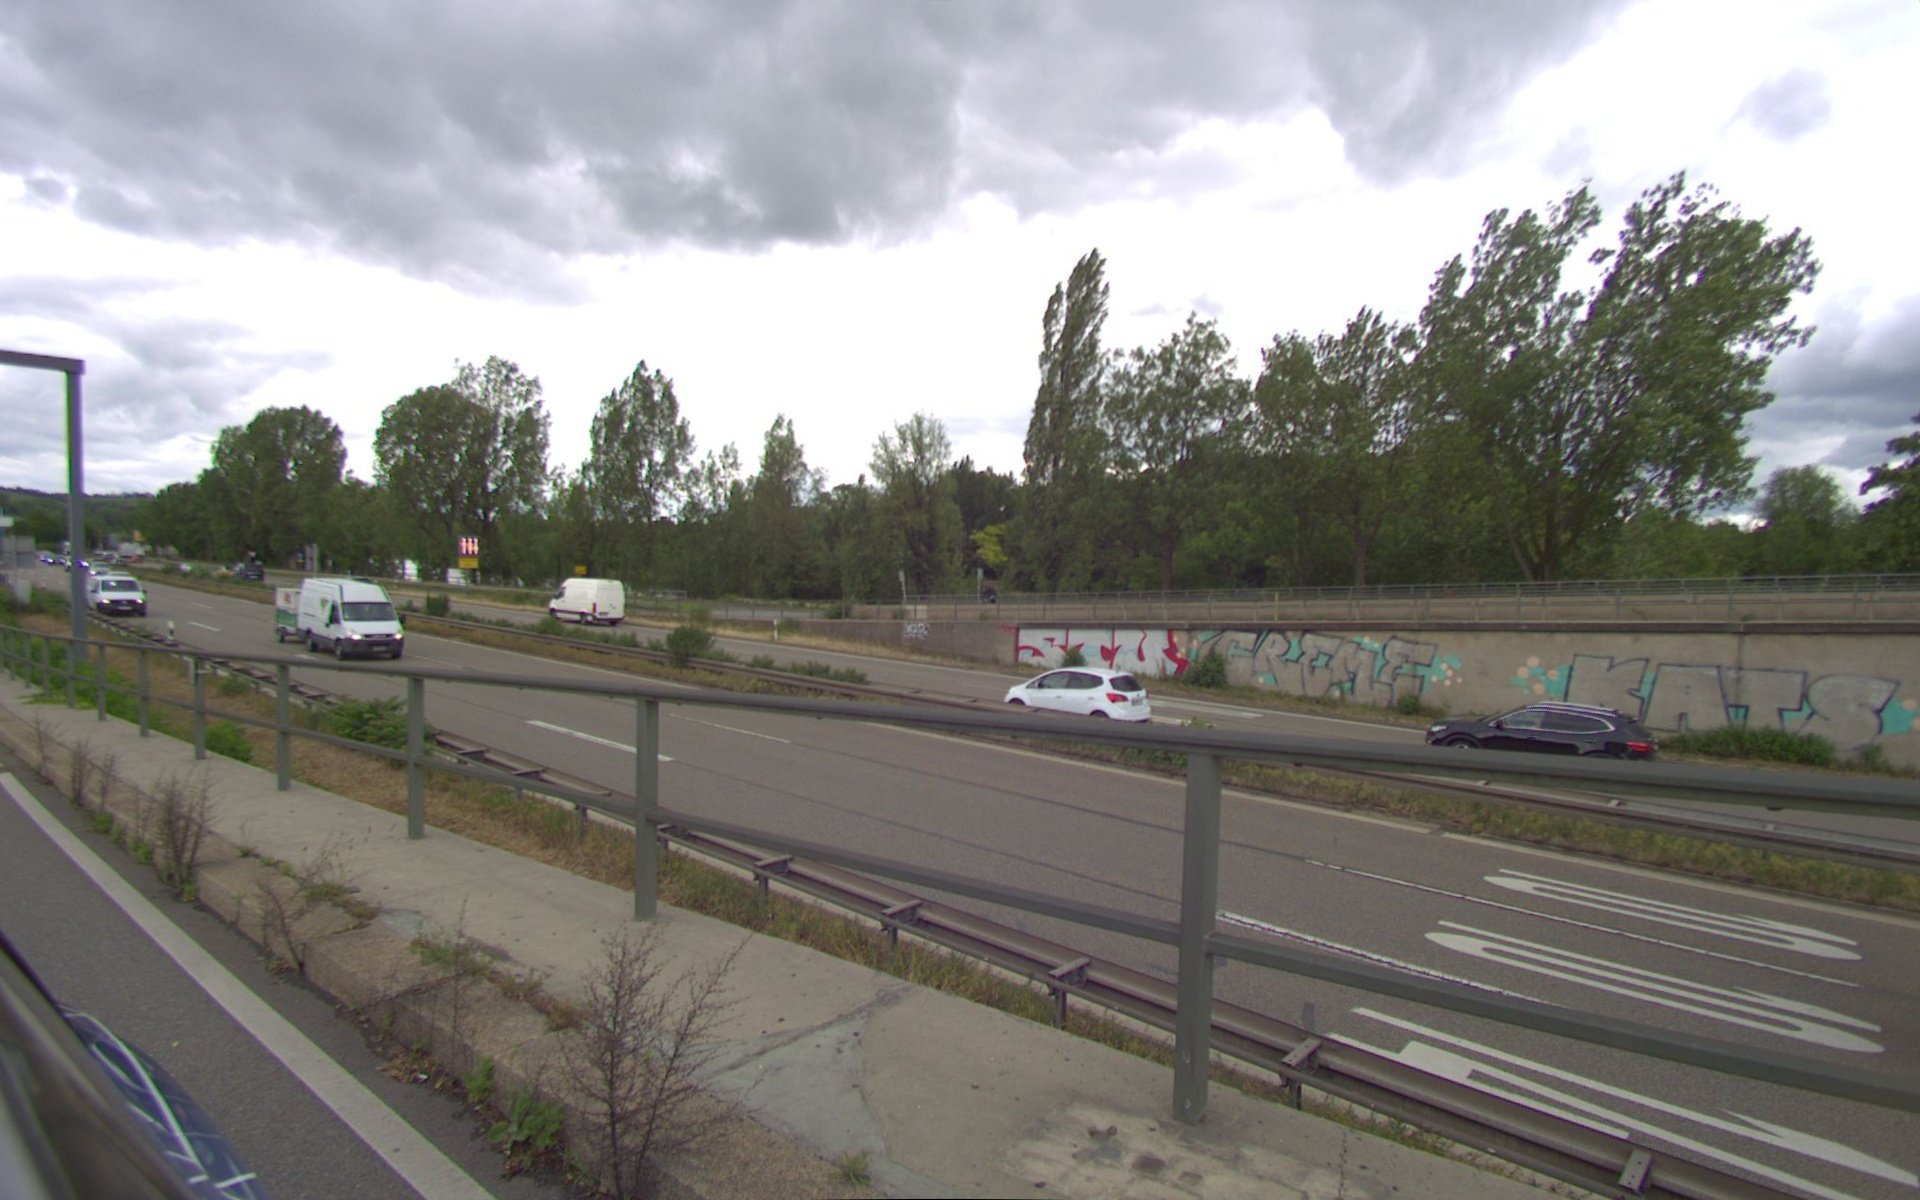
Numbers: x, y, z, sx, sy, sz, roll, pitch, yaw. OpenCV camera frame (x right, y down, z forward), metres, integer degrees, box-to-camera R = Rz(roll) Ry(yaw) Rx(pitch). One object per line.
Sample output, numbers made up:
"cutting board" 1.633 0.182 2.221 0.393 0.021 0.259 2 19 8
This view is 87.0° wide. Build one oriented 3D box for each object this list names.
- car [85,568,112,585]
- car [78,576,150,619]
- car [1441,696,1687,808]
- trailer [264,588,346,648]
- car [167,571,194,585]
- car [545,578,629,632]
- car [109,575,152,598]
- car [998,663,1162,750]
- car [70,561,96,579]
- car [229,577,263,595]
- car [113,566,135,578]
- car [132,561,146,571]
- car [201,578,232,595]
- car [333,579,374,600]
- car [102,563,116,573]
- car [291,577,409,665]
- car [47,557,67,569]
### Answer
"car" -88.850 -2.444 104.367 3.681 1.564 1.540 3 3 41
"car" -42.382 -0.159 50.653 5.197 1.890 1.973 4 3 41
"car" 13.186 3.226 22.248 4.332 1.662 1.879 4 1 41
"trailer" -25.914 0.648 39.987 3.935 2.145 1.711 3 2 41
"car" -93.638 -2.668 121.617 3.930 1.662 1.879 2 2 41
"car" -21.520 0.250 58.267 5.359 2.800 2.187 4 2 41
"car" -59.406 -0.977 72.437 4.164 1.462 1.724 3 2 41
"car" 3.093 2.692 26.454 3.930 1.662 1.739 4 3 41
"car" -103.975 -3.537 119.961 4.898 1.949 1.928 4 3 44
"car" -69.459 -1.334 98.442 3.930 1.662 1.879 2 2 41
"car" -121.535 -4.054 147.042 3.930 1.662 1.879 2 2 41
"car" -164.866 -6.740 203.144 1.970 1.829 4.004 -1 0 -43
"car" -79.014 -1.449 107.544 3.930 1.662 1.879 2 2 41
"car" -50.979 -0.864 85.030 3.930 1.662 1.879 2 2 41
"car" -171.514 -6.363 203.867 1.970 1.829 4.004 -1 0 -43
"car" -22.216 0.656 36.768 5.931 2.704 1.973 4 4 41
"car" -139.050 -5.743 155.900 4.278 1.726 1.821 4 3 41
